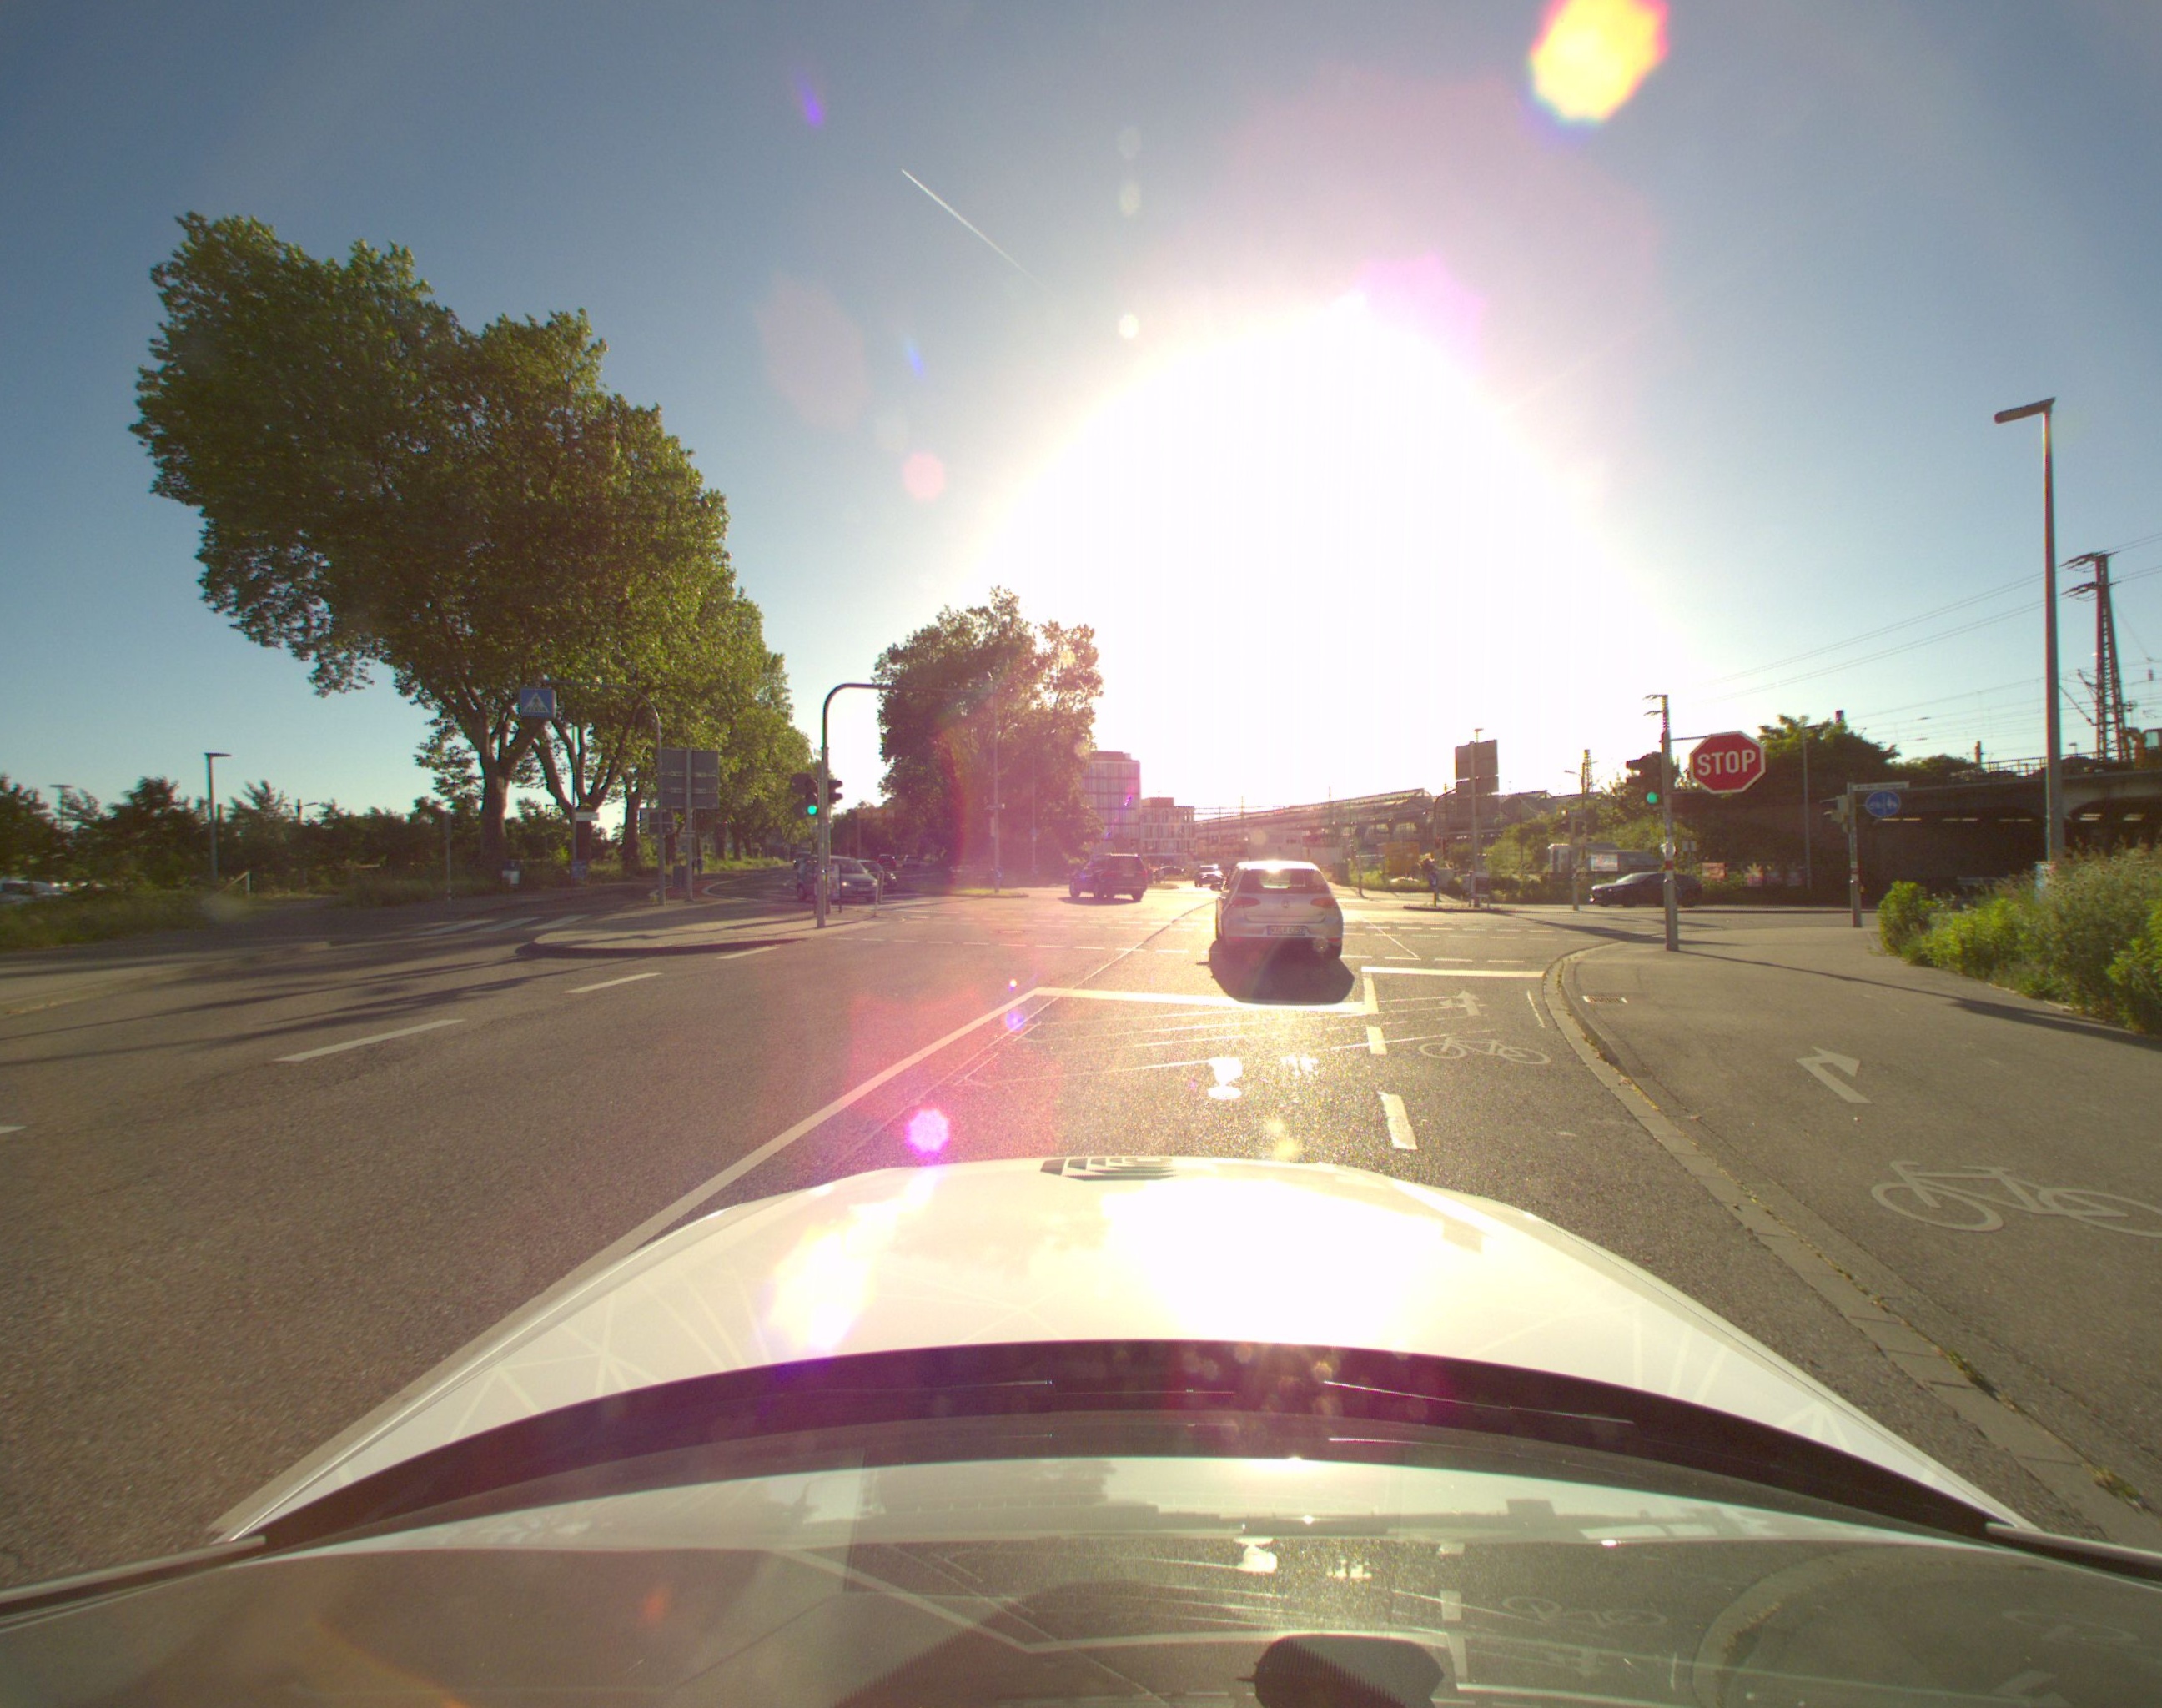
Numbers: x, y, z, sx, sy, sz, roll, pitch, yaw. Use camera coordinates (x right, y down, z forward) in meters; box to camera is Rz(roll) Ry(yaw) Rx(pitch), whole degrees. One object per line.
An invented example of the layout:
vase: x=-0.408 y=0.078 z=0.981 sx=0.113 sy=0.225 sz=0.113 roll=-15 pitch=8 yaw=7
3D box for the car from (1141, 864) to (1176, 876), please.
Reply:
car: x=13.119 y=2.703 z=137.470 sx=5.726 sy=1.845 sz=1.903 roll=0 pitch=0 yaw=-22

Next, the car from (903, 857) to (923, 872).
car: x=-19.319 y=1.195 z=93.562 sx=1.859 sy=1.650 sz=4.239 roll=0 pitch=0 yaw=-18

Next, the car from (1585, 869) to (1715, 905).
car: x=24.582 y=1.410 z=35.269 sx=4.364 sy=1.518 sz=1.954 roll=0 pitch=-2 yaw=-4

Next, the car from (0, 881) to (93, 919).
car: x=-53.715 y=2.305 z=40.860 sx=4.958 sy=1.764 sz=1.988 roll=0 pitch=-1 yaw=-18

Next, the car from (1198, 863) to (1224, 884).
car: x=9.638 y=1.405 z=60.656 sx=1.739 sy=1.476 sz=4.007 roll=0 pitch=0 yaw=6

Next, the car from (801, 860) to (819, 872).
car: x=-36.372 y=1.613 z=109.409 sx=1.856 sy=1.599 sz=4.304 roll=0 pitch=0 yaw=-14

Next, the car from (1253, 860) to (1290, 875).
car: x=22.709 y=1.605 z=97.338 sx=3.984 sy=1.788 sz=1.650 roll=1 pitch=-1 yaw=-8

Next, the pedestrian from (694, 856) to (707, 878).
pedestrian: x=-27.393 y=0.908 z=58.646 sx=0.729 sy=1.592 sz=0.800 roll=0 pitch=-1 yaw=-14

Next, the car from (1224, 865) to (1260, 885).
car: x=12.740 y=1.670 z=64.661 sx=1.745 sy=1.476 sz=3.993 roll=0 pitch=0 yaw=-5

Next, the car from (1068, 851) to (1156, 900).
car: x=1.175 y=0.839 z=33.641 sx=2.119 sy=1.887 sz=4.782 roll=0 pitch=-1 yaw=-18

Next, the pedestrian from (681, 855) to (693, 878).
pedestrian: x=-28.188 y=0.899 z=58.224 sx=0.664 sy=1.586 sz=0.628 roll=0 pitch=-1 yaw=-14

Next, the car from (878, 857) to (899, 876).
car: x=-18.377 y=1.168 z=78.007 sx=1.855 sy=1.743 sz=4.248 roll=0 pitch=0 yaw=-12

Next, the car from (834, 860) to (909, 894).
car: x=-9.370 y=0.989 z=36.259 sx=1.917 sy=1.427 sz=3.893 roll=1 pitch=-1 yaw=-36

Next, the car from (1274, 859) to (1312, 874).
car: x=24.359 y=1.478 z=93.653 sx=3.984 sy=1.706 sz=1.611 roll=1 pitch=-1 yaw=-8

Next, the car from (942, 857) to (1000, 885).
car: x=-7.006 y=1.038 z=51.532 sx=1.956 sy=1.713 sz=4.156 roll=0 pitch=-1 yaw=-34

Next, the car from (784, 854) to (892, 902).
car: x=-8.906 y=0.848 z=29.706 sx=4.069 sy=1.636 sz=1.932 roll=0 pitch=-1 yaw=42

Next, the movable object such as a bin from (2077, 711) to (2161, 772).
movable object such as a bin: x=47.458 y=-4.969 z=36.442 sx=4.826 sy=2.226 sz=1.989 roll=1 pitch=-1 yaw=-17

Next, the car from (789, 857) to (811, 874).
car: x=-30.526 y=1.249 z=88.580 sx=1.856 sy=1.743 sz=4.245 roll=0 pitch=0 yaw=-14

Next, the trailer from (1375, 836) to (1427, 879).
trailer: x=25.726 y=0.296 z=65.742 sx=2.975 sy=3.292 sz=6.691 roll=0 pitch=-1 yaw=13

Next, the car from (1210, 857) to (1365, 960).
car: x=3.180 y=0.772 z=13.316 sx=1.960 sy=1.427 sz=3.944 roll=0 pitch=0 yaw=7
